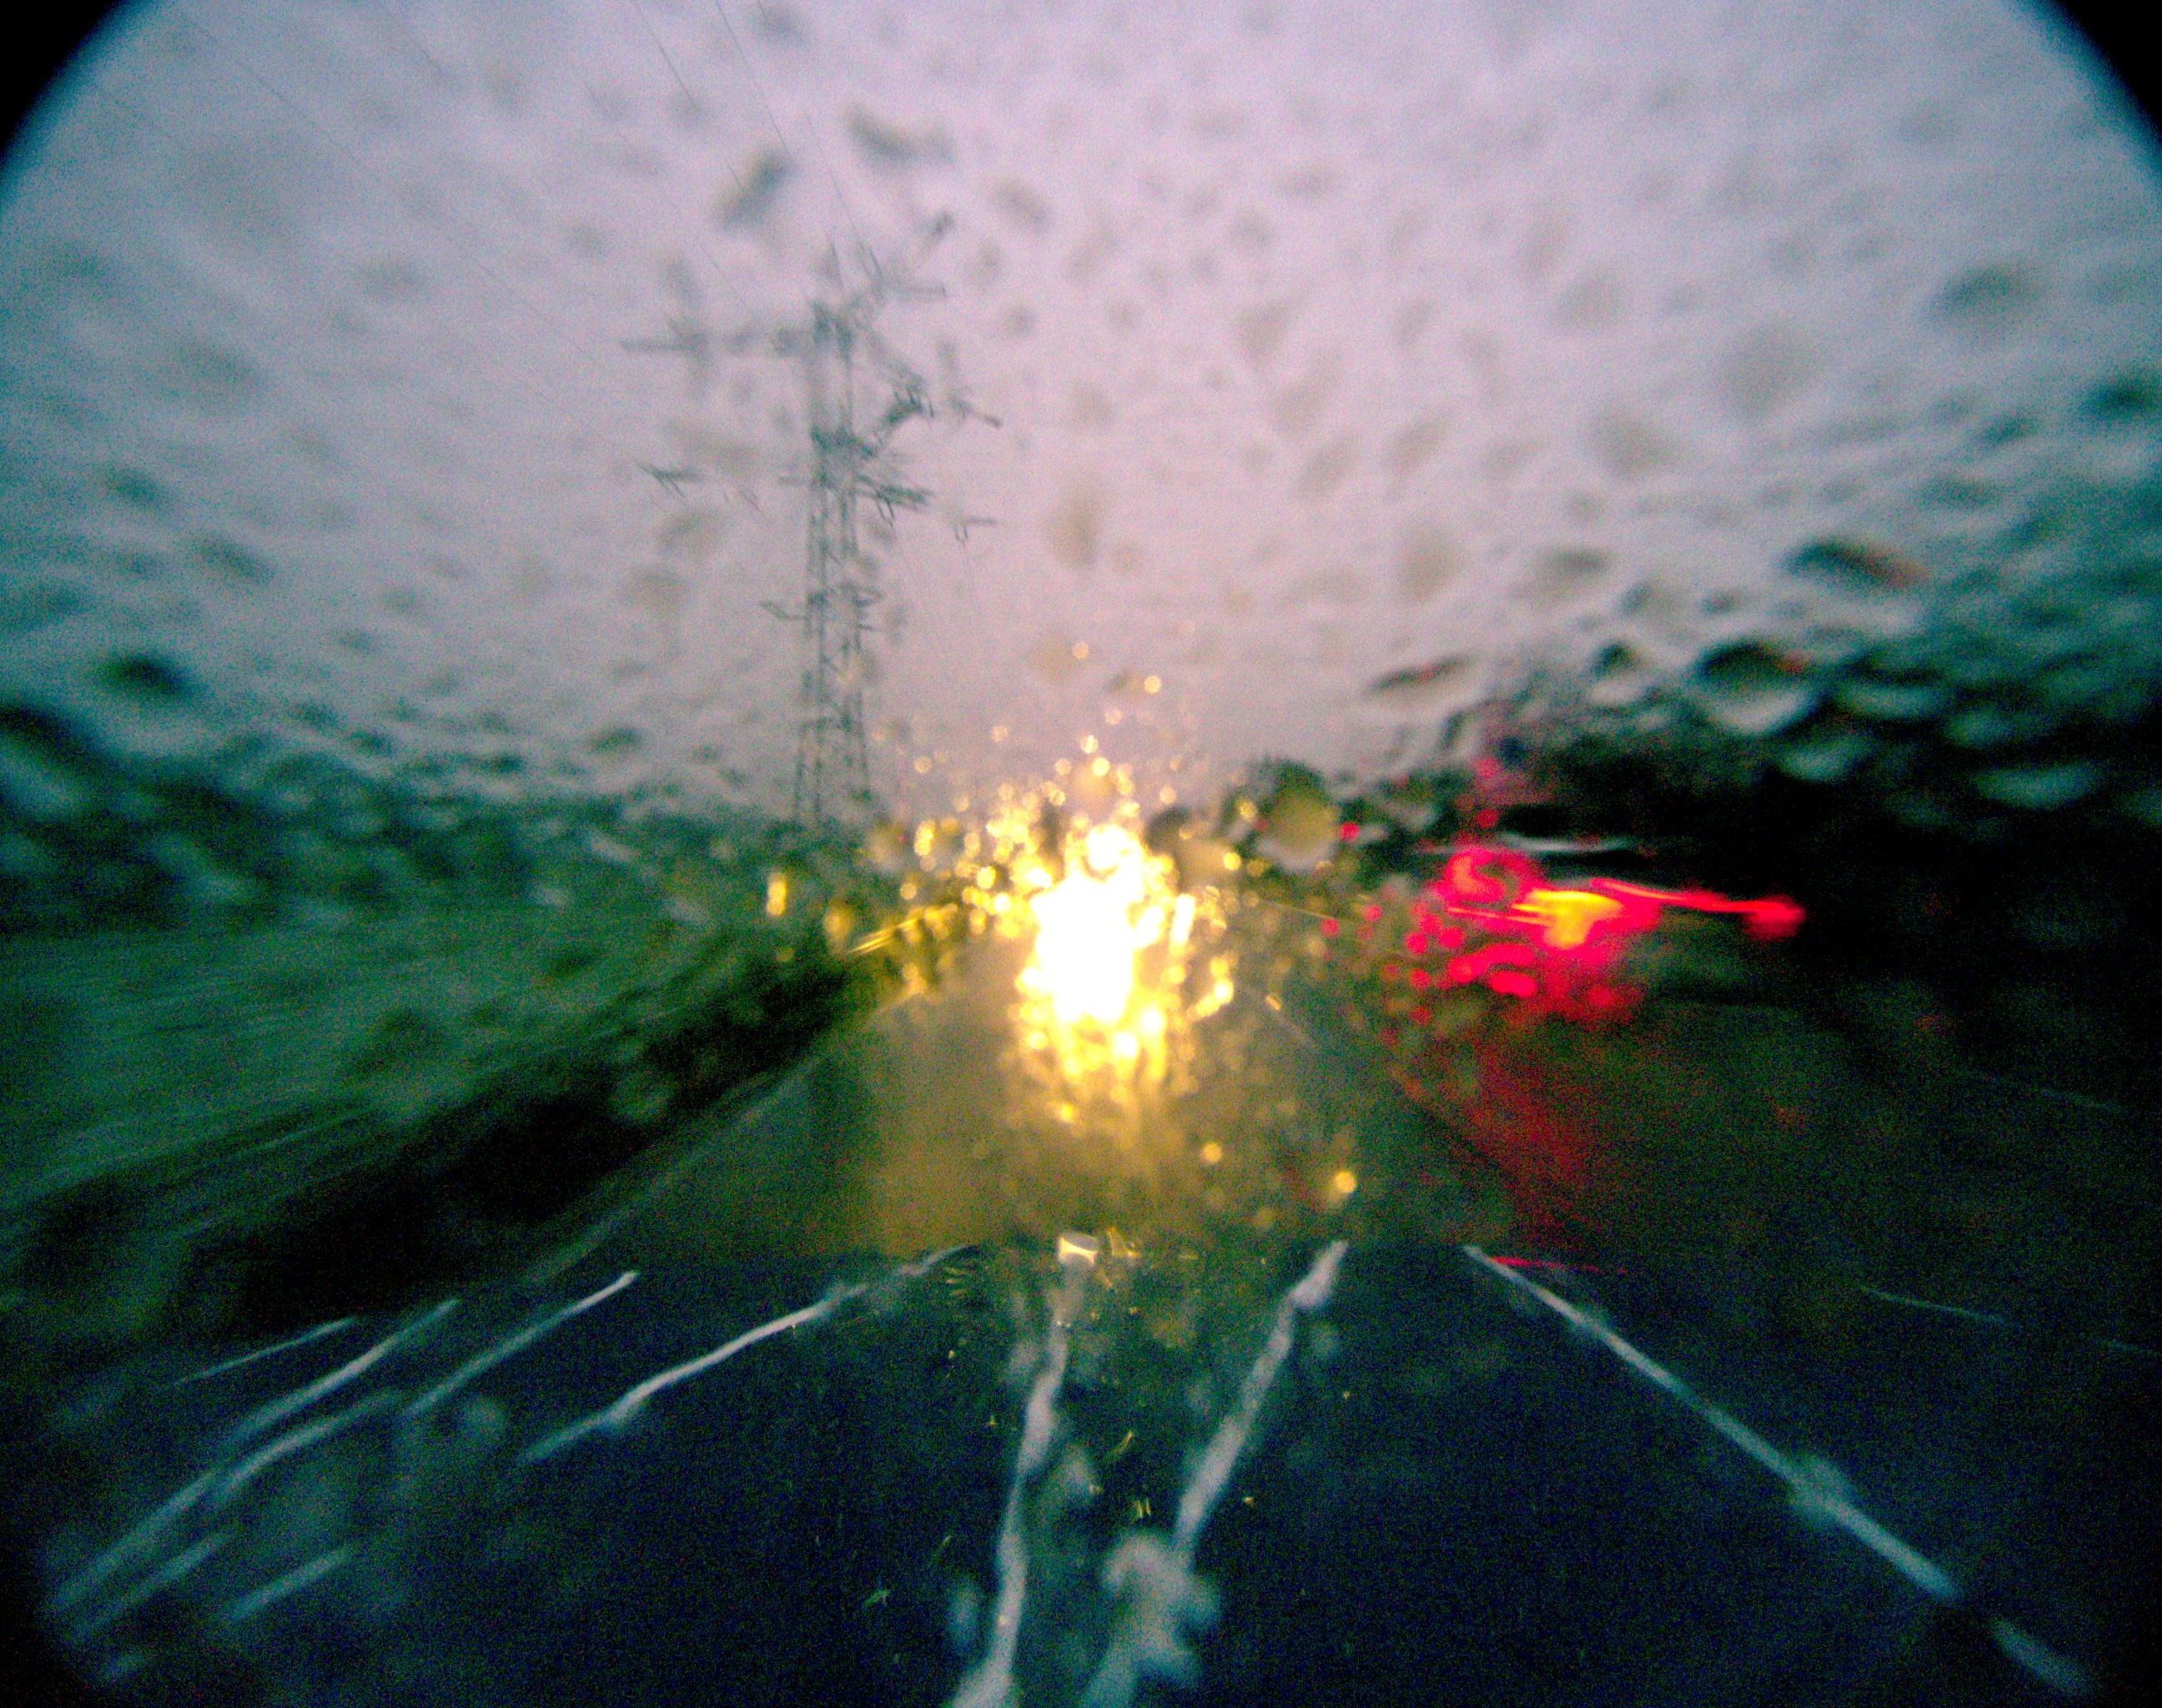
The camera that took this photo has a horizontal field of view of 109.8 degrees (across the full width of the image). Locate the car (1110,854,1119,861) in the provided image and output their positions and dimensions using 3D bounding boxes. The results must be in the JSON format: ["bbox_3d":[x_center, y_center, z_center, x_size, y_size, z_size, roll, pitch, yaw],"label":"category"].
[{"bbox_3d":[7.156,0.714,162.957,1.649,1.455,3.872,-2,0,1],"label":"car"}]

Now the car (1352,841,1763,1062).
[{"bbox_3d":[4.300,0.734,7.711,1.676,1.621,3.976,-2,0,0],"label":"car"}]

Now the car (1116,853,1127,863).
[{"bbox_3d":[6.638,0.643,124.291,1.739,1.604,4.212,-2,0,2],"label":"car"}]

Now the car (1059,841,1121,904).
[{"bbox_3d":[0.241,0.599,26.831,1.857,2.002,3.998,-2,1,-3],"label":"car"}]
